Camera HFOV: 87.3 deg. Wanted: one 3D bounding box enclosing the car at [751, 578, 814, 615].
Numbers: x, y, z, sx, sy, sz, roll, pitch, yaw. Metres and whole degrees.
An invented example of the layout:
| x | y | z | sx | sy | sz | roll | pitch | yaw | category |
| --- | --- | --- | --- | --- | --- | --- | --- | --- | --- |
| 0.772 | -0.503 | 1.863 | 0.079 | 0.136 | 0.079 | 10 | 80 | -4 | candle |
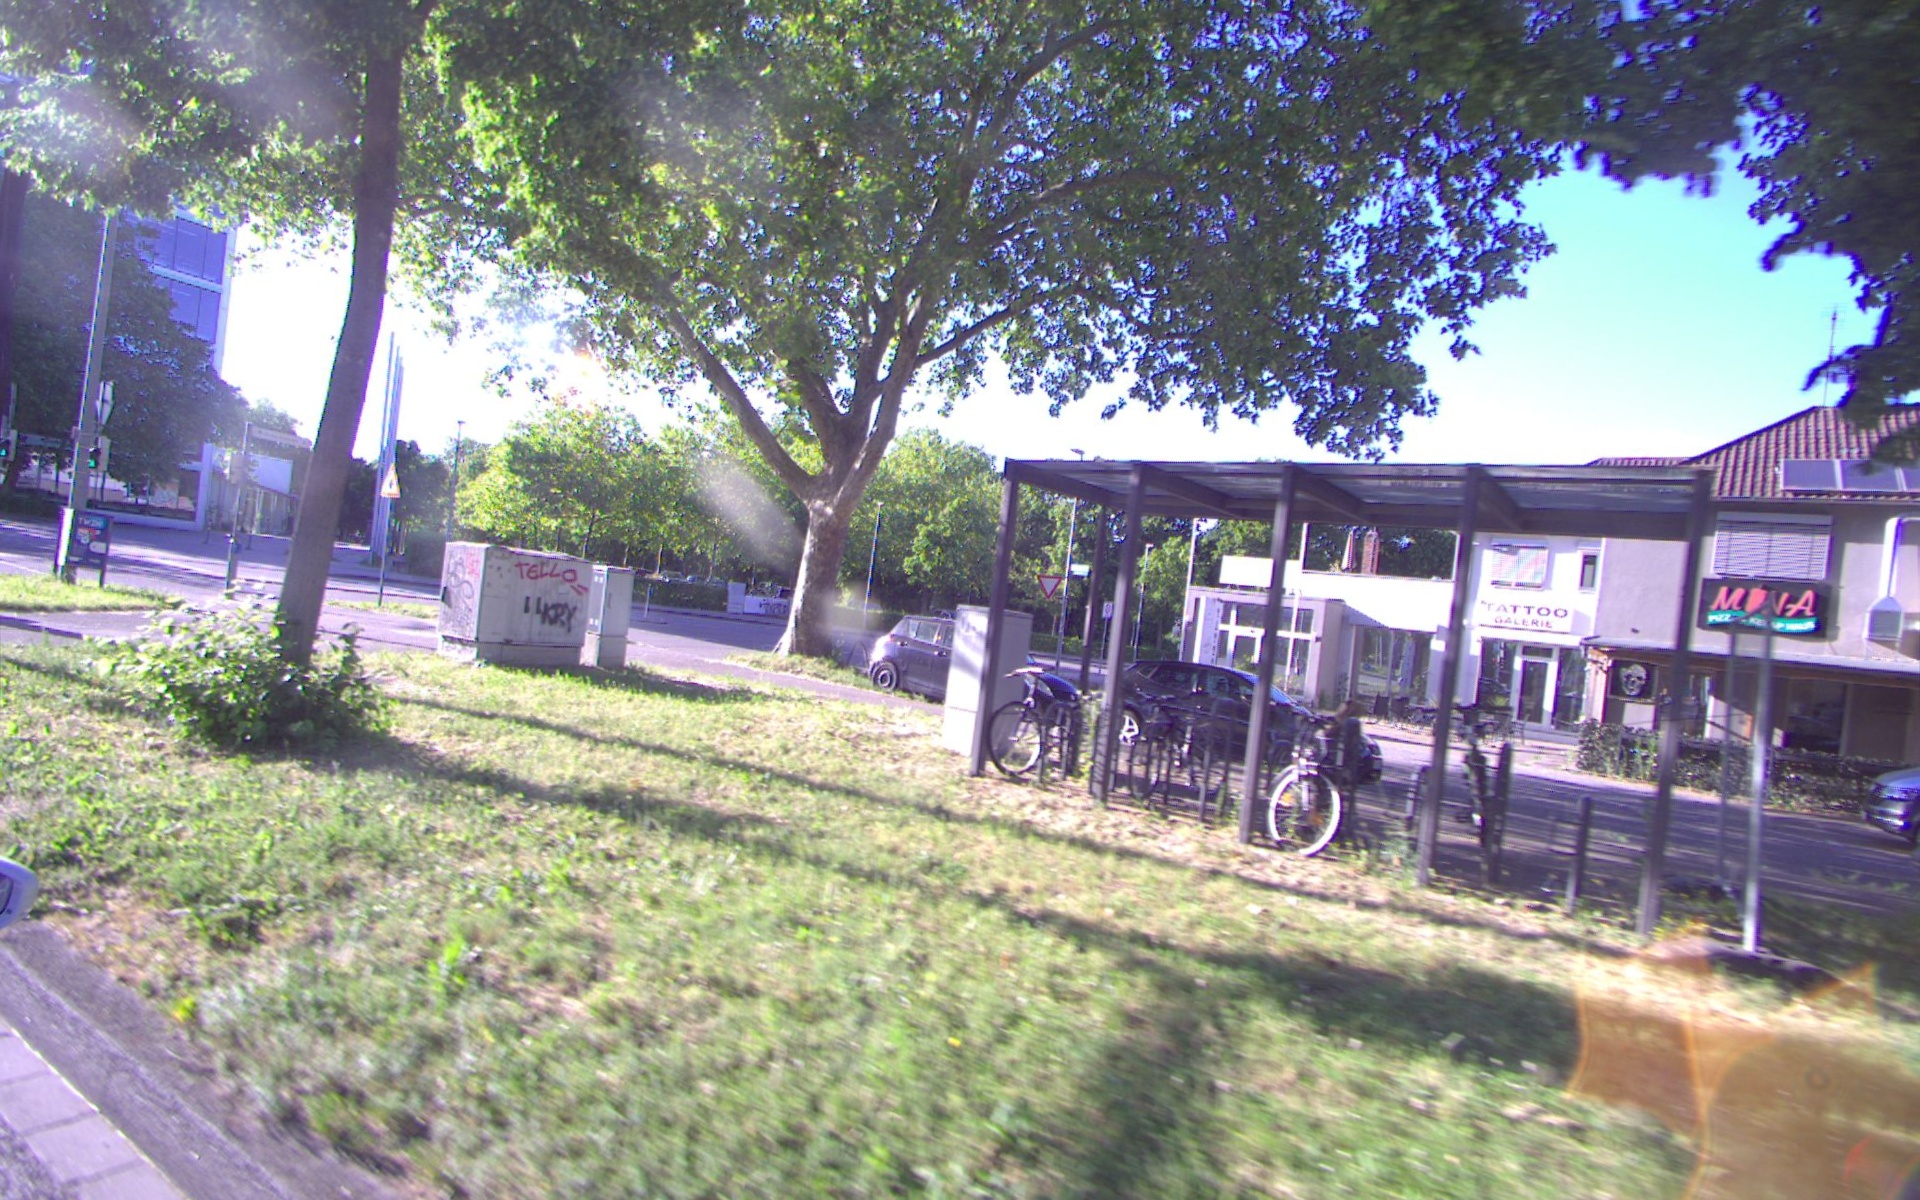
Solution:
| x | y | z | sx | sy | sz | roll | pitch | yaw | category |
| --- | --- | --- | --- | --- | --- | --- | --- | --- | --- |
| -9.460 | -0.195 | 53.267 | 1.979 | 1.482 | 3.971 | 9 | -1 | -29 | car |

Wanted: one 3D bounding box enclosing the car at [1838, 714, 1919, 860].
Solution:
| x | y | z | sx | sy | sz | roll | pitch | yaw | category |
| --- | --- | --- | --- | --- | --- | --- | --- | --- | --- |
| 16.754 | 3.166 | 15.089 | 4.989 | 2.063 | 1.894 | 7 | 1 | 34 | car |

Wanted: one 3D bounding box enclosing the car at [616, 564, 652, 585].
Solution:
| x | y | z | sx | sy | sz | roll | pitch | yaw | category |
| --- | --- | --- | --- | --- | --- | --- | --- | --- | --- |
| -29.745 | -2.328 | 91.724 | 1.981 | 1.482 | 3.965 | 9 | -1 | -33 | car |

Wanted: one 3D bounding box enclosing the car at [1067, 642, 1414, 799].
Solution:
| x | y | z | sx | sy | sz | roll | pitch | yaw | category |
| --- | --- | --- | --- | --- | --- | --- | --- | --- | --- |
| 3.922 | 1.622 | 14.361 | 4.279 | 1.428 | 1.895 | 7 | -1 | 36 | car |

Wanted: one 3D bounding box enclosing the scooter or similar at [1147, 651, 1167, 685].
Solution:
| x | y | z | sx | sy | sz | roll | pitch | yaw | category |
| --- | --- | --- | --- | --- | --- | --- | --- | --- | --- |
| 7.534 | 2.595 | 38.426 | 0.257 | 1.178 | 1.010 | 7 | 0 | -11 | scooter or similar |

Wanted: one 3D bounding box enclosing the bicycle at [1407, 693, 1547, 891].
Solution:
| x | y | z | sx | sy | sz | roll | pitch | yaw | category |
| --- | --- | --- | --- | --- | --- | --- | --- | --- | --- |
| 3.779 | 1.318 | 7.271 | 0.542 | 1.183 | 1.805 | 7 | -1 | 35 | bicycle |

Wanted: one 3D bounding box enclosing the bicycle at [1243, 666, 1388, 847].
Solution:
| x | y | z | sx | sy | sz | roll | pitch | yaw | category |
| --- | --- | --- | --- | --- | --- | --- | --- | --- | --- |
| 2.797 | 1.173 | 7.793 | 0.542 | 1.183 | 1.698 | 7 | -1 | 34 | bicycle |

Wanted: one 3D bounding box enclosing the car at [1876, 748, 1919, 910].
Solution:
| x | y | z | sx | sy | sz | roll | pitch | yaw | category |
| --- | --- | --- | --- | --- | --- | --- | --- | --- | --- |
| 11.472 | 2.503 | 9.180 | 4.279 | 1.506 | 1.895 | 7 | -1 | 37 | car |

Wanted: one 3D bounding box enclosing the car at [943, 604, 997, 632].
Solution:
| x | y | z | sx | sy | sz | roll | pitch | yaw | category |
| --- | --- | --- | --- | --- | --- | --- | --- | --- | --- |
| 0.847 | 1.490 | 83.703 | 3.981 | 1.480 | 1.976 | 14 | -3 | -42 | car |

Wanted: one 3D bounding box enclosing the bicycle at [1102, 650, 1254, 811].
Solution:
| x | y | z | sx | sy | sz | roll | pitch | yaw | category |
| --- | --- | --- | --- | --- | --- | --- | --- | --- | --- |
| 1.907 | 1.095 | 8.611 | 0.542 | 1.183 | 1.698 | 7 | -1 | 34 | bicycle |

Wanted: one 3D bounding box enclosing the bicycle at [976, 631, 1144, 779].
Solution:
| x | y | z | sx | sy | sz | roll | pitch | yaw | category |
| --- | --- | --- | --- | --- | --- | --- | --- | --- | --- |
| 0.957 | 0.973 | 9.220 | 0.543 | 1.183 | 1.695 | 7 | -1 | 40 | bicycle |

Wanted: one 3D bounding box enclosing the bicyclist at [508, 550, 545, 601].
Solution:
| x | y | z | sx | sy | sz | roll | pitch | yaw | category |
| --- | --- | --- | --- | --- | --- | --- | --- | --- | --- |
| -16.131 | -0.917 | 37.414 | 0.871 | 1.759 | 0.822 | 6 | 1 | -41 | bicyclist |

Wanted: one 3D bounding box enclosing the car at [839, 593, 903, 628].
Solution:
| x | y | z | sx | sy | sz | roll | pitch | yaw | category |
| --- | --- | --- | --- | --- | --- | --- | --- | --- | --- |
| -4.979 | 0.558 | 55.950 | 1.979 | 1.482 | 3.971 | 9 | -1 | -29 | car |

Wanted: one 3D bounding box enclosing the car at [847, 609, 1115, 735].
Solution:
| x | y | z | sx | sy | sz | roll | pitch | yaw | category |
| --- | --- | --- | --- | --- | --- | --- | --- | --- | --- |
| 0.306 | 1.166 | 16.837 | 3.973 | 1.482 | 1.896 | 7 | -1 | 35 | car |

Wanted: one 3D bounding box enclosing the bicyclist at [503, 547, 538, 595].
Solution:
| x | y | z | sx | sy | sz | roll | pitch | yaw | category |
| --- | --- | --- | --- | --- | --- | --- | --- | --- | --- |
| -16.796 | -1.117 | 38.468 | 0.871 | 1.674 | 0.783 | 6 | 1 | -43 | bicyclist |
